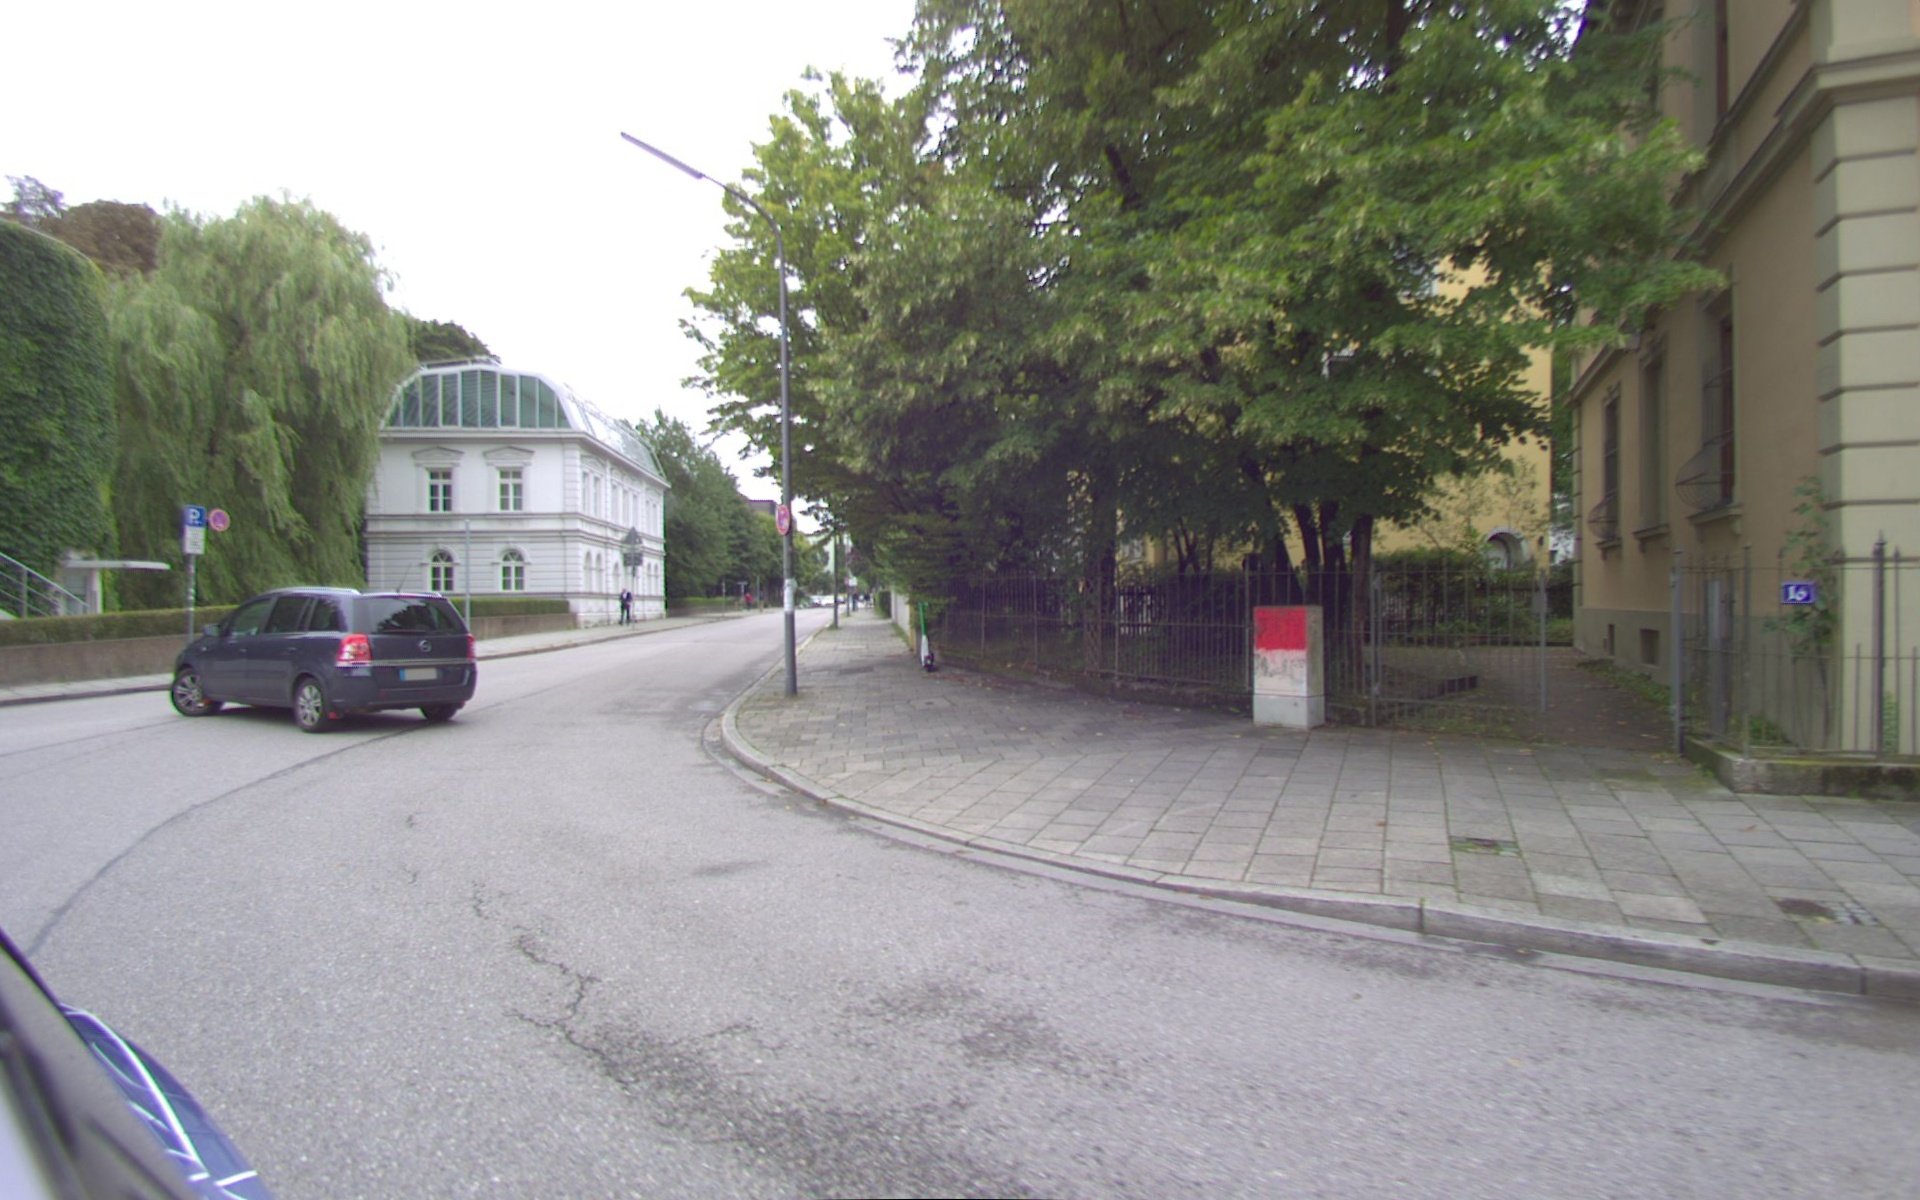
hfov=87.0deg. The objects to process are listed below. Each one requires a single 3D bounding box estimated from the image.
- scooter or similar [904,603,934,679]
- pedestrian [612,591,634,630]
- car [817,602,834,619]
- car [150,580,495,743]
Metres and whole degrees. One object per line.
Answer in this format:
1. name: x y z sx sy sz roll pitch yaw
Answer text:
1. scooter or similar: -0.716 0.674 17.276 0.386 1.198 1.421 -5 0 -3
2. pedestrian: -15.075 0.453 45.274 0.670 1.718 0.769 2 0 -3
3. car: -16.637 1.326 125.247 1.969 2.029 4.005 -1 0 -6
4. car: -7.988 0.649 12.600 4.321 1.706 1.978 0 -1 33
